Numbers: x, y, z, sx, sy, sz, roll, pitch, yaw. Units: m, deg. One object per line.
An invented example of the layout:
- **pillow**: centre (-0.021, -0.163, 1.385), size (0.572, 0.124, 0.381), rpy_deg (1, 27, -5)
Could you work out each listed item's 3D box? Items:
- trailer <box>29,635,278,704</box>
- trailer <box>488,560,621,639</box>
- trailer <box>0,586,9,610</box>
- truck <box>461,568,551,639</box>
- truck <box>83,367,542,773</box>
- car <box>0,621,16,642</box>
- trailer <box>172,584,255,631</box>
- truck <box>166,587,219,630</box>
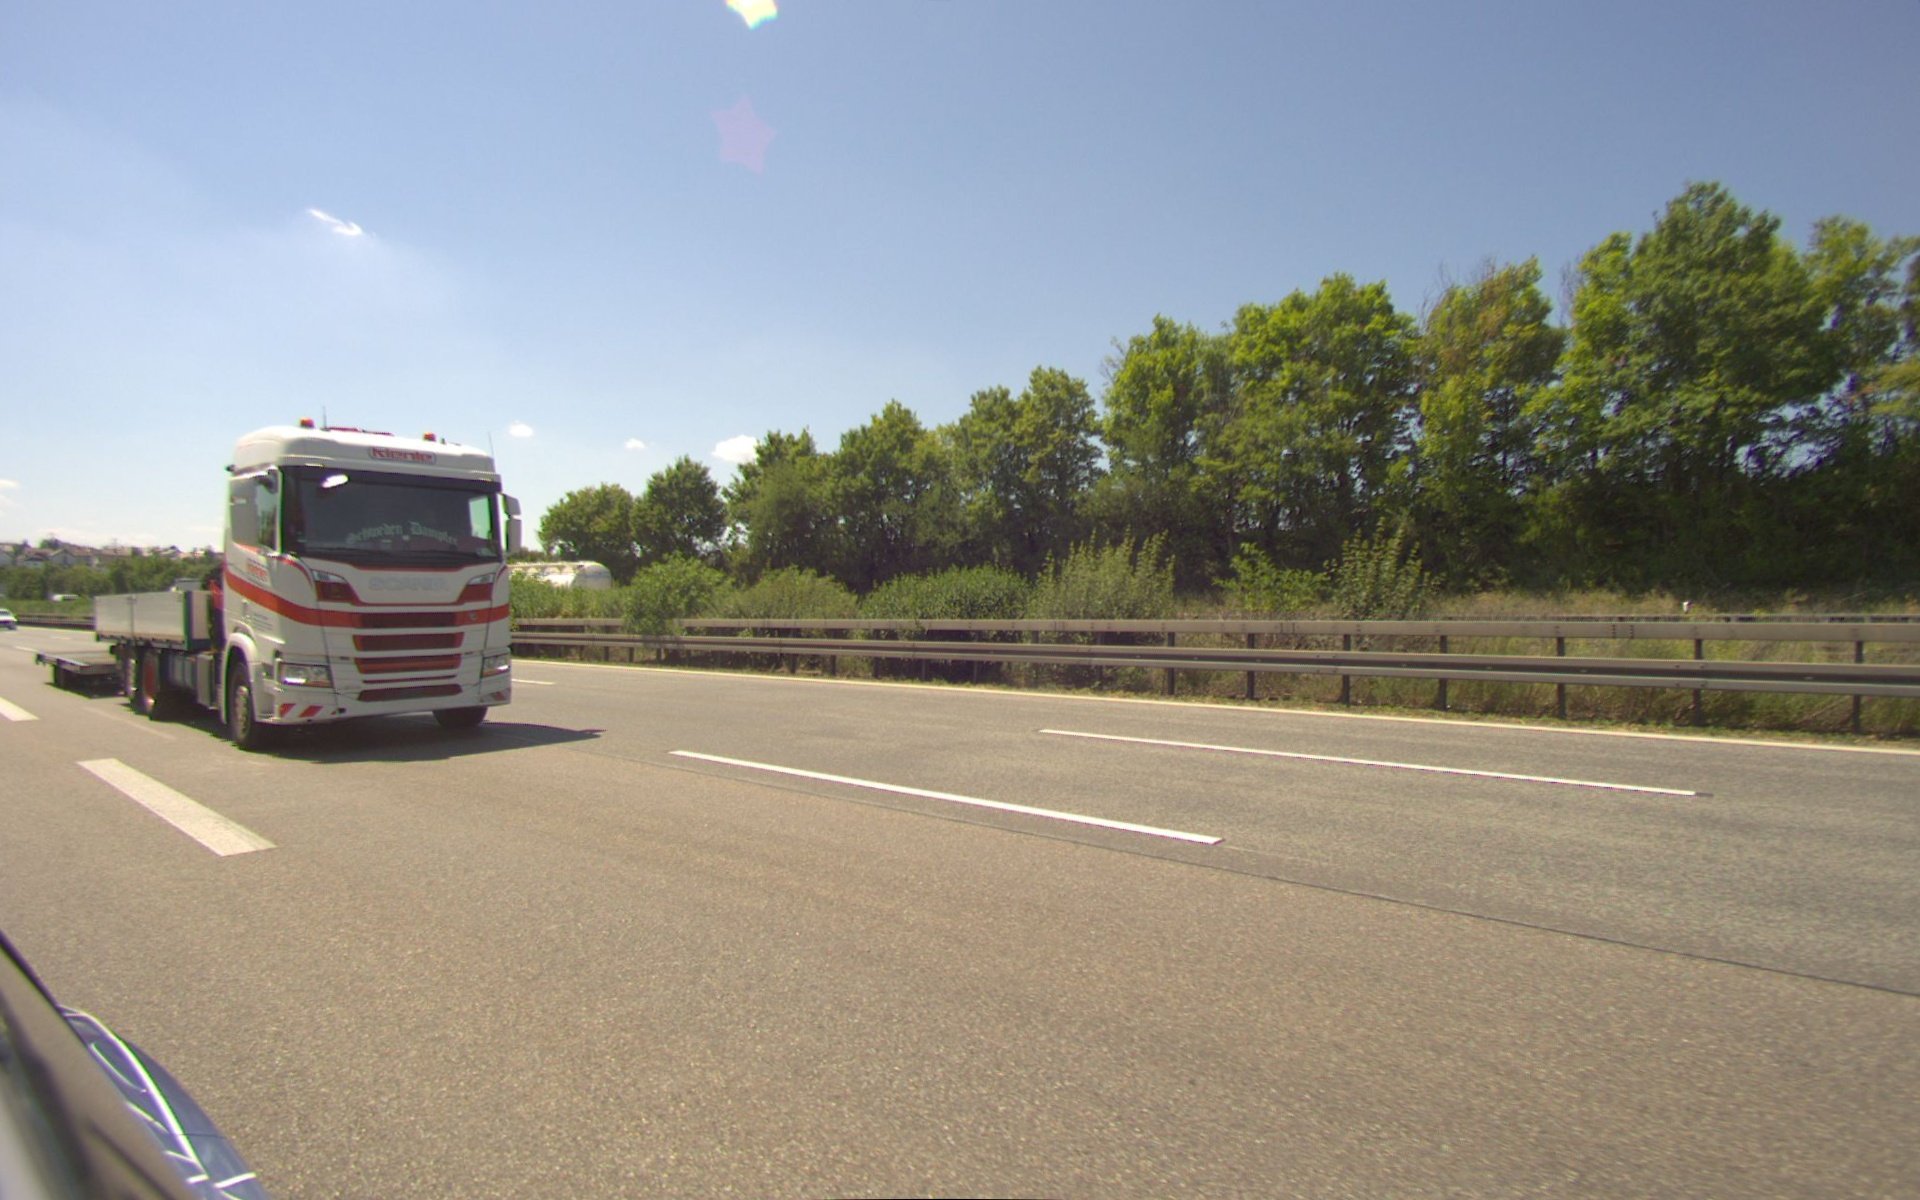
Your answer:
- **trailer**: centre (-16.342, 1.271, 20.250), size (7.758, 0.941, 2.686), rpy_deg (-1, 0, 42)
- **trailer**: centre (-22.117, 0.063, 54.812), size (9.732, 3.918, 2.661), rpy_deg (-1, -1, 42)
- **trailer**: centre (-165.077, -0.361, 172.271), size (13.699, 3.977, 2.514), rpy_deg (-1, 0, 38)
- **truck**: centre (-26.405, 0.216, 58.710), size (5.744, 3.918, 2.666), rpy_deg (-1, -1, 42)
- **truck**: centre (-9.619, -0.248, 14.122), size (10.669, 3.831, 2.685), rpy_deg (-1, 0, 42)
- **car**: centre (-72.305, 2.360, 75.864), size (3.998, 1.564, 1.859), rpy_deg (-2, -1, 41)
- **trailer**: centre (-70.608, 0.732, 95.563), size (13.918, 4.121, 3.357), rpy_deg (-1, 0, 41)
- **truck**: centre (-76.033, 0.826, 100.249), size (4.825, 4.121, 3.298), rpy_deg (-1, 0, 41)
